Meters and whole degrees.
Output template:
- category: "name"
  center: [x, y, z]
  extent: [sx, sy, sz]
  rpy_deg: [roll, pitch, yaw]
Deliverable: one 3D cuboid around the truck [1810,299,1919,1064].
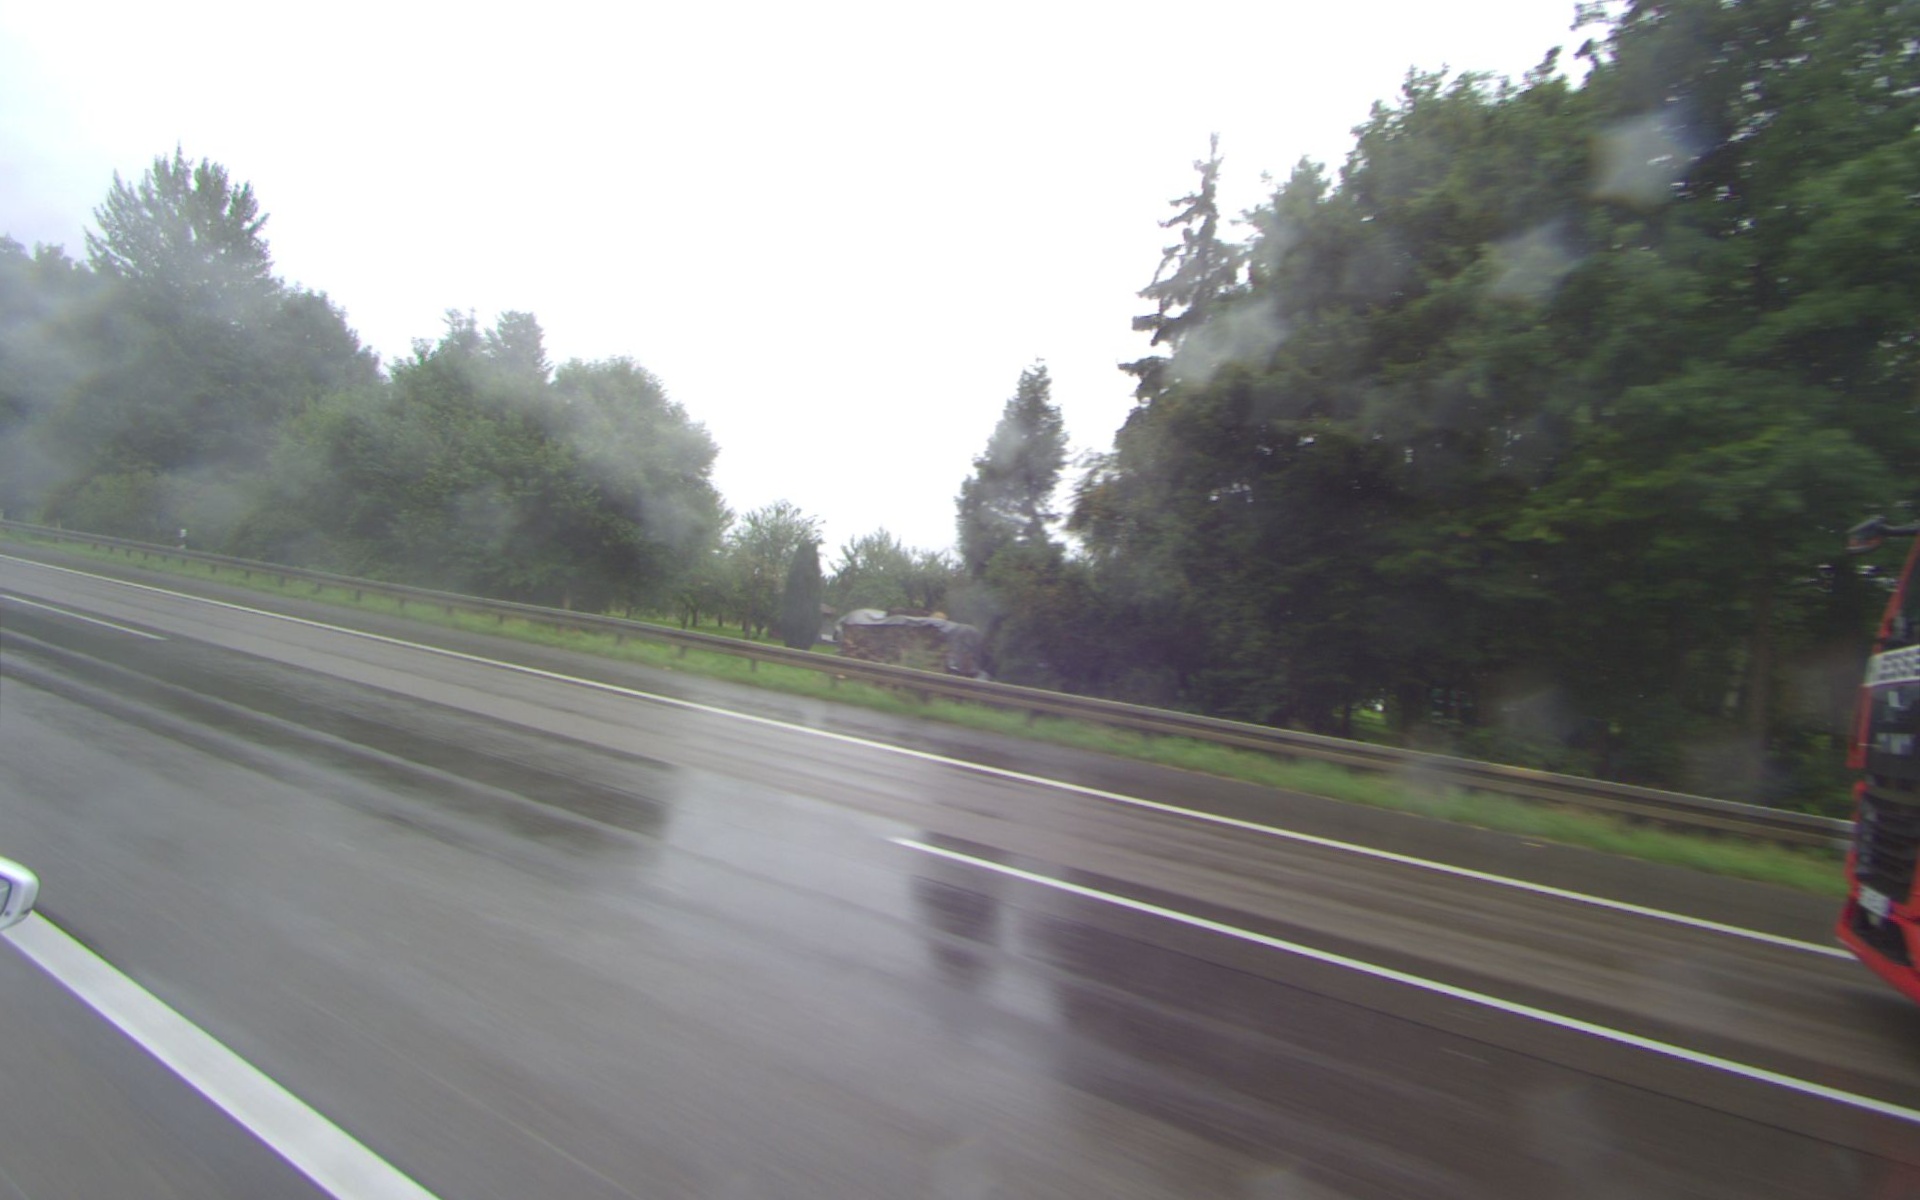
- category: "truck"
  center: [7.384, 0.446, 4.079]
  extent: [5.344, 4.001, 2.624]
  rpy_deg: [6, -1, 33]
